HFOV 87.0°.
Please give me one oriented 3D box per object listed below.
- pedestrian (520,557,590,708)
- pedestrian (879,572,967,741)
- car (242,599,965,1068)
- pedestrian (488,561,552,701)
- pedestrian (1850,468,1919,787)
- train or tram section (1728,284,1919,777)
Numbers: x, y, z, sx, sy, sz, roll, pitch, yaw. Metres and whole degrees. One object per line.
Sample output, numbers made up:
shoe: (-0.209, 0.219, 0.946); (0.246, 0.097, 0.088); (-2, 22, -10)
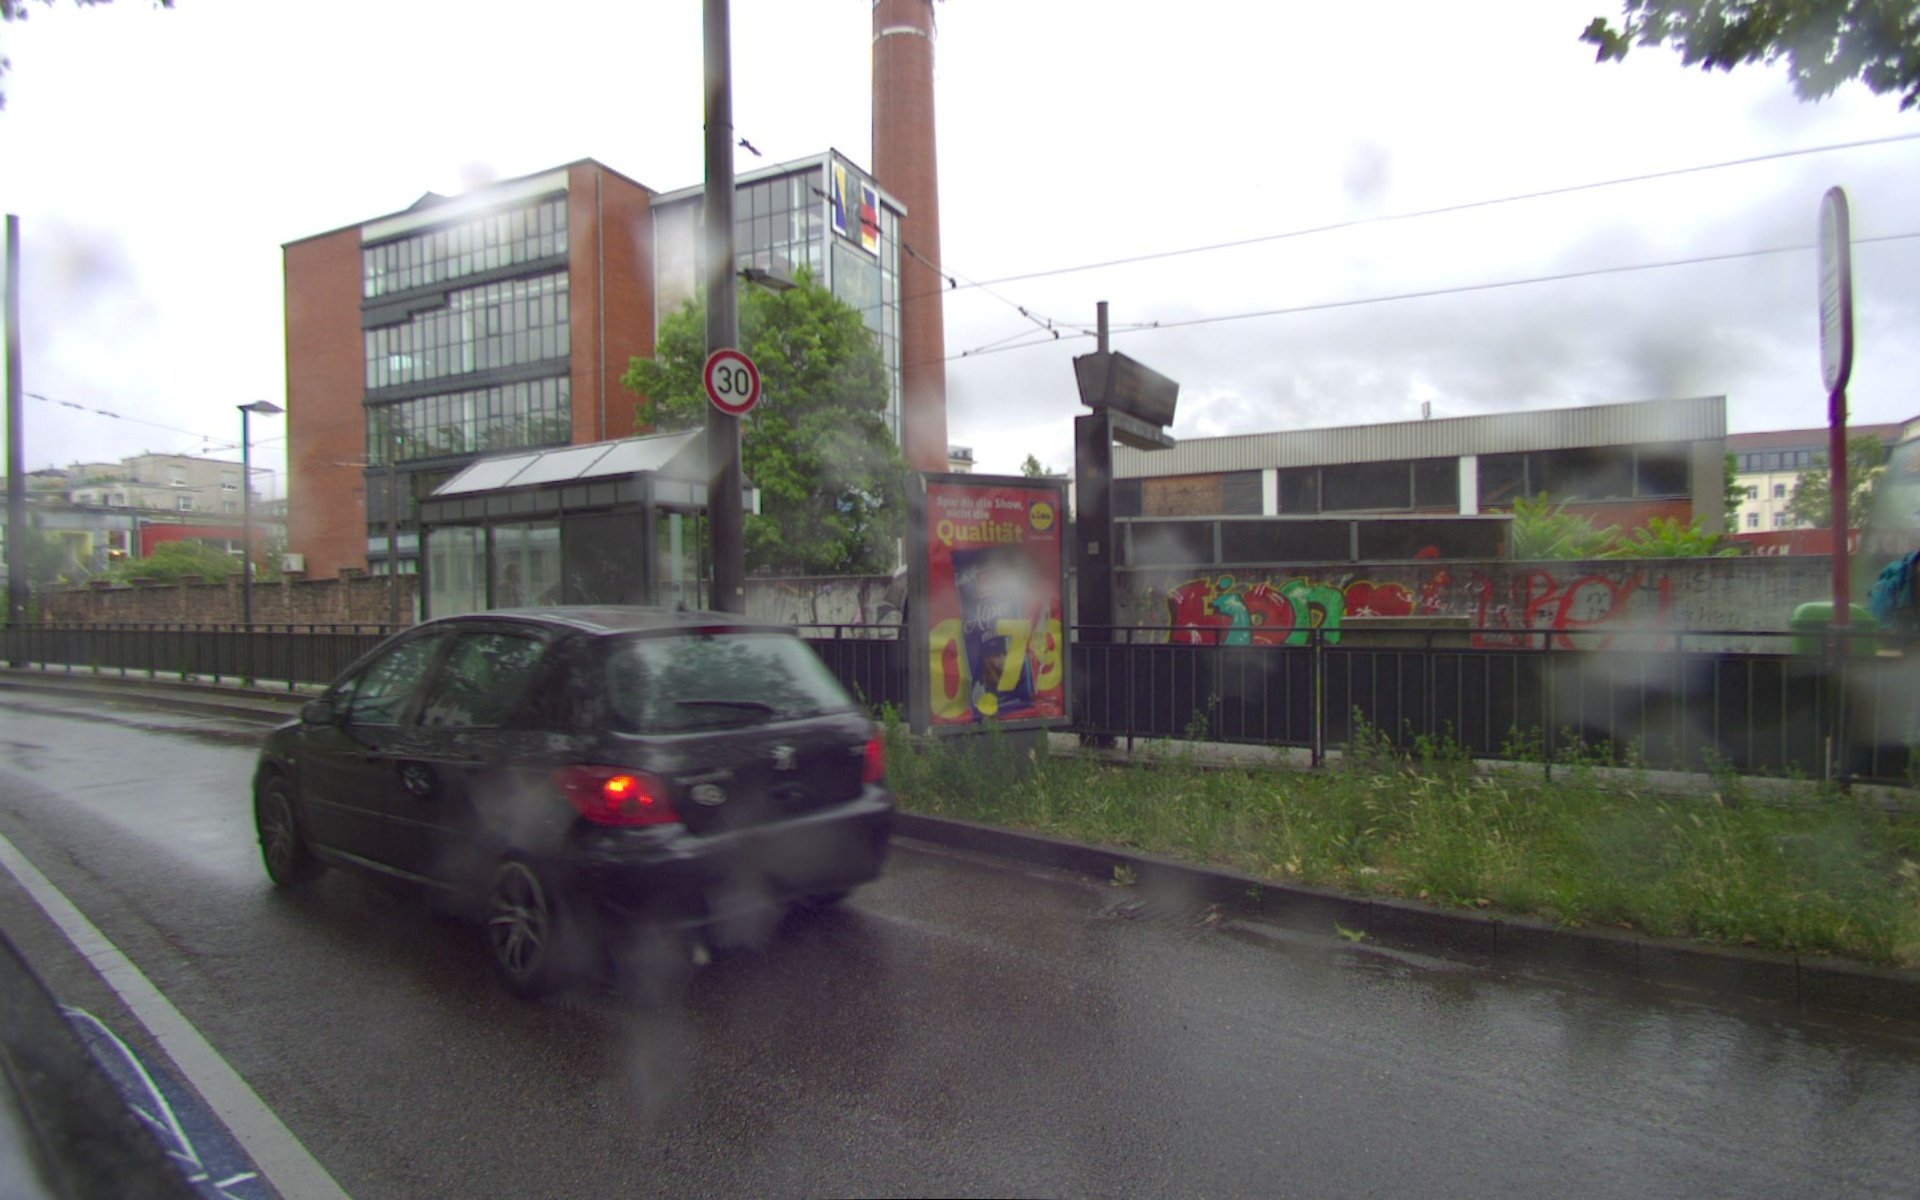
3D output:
pedestrian: (-4.909, 0.379, 12.273); (0.620, 1.762, 0.565); (-1, 0, -41)
pedestrian: (-0.364, 0.562, 10.138); (0.504, 1.610, 0.790); (-4, -4, 30)
car: (-1.965, 0.757, 5.052); (3.743, 1.470, 1.697); (-1, 0, 39)
pedestrian: (-5.719, 0.390, 13.149); (0.620, 1.762, 0.515); (-1, 0, -41)
pedestrian: (6.207, 0.148, 6.028); (1.072, 1.840, 0.975); (-4, -4, 30)
train or tram section: (14.120, -0.637, 5.663); (15.279, 3.572, 2.846); (-1, 0, 24)
